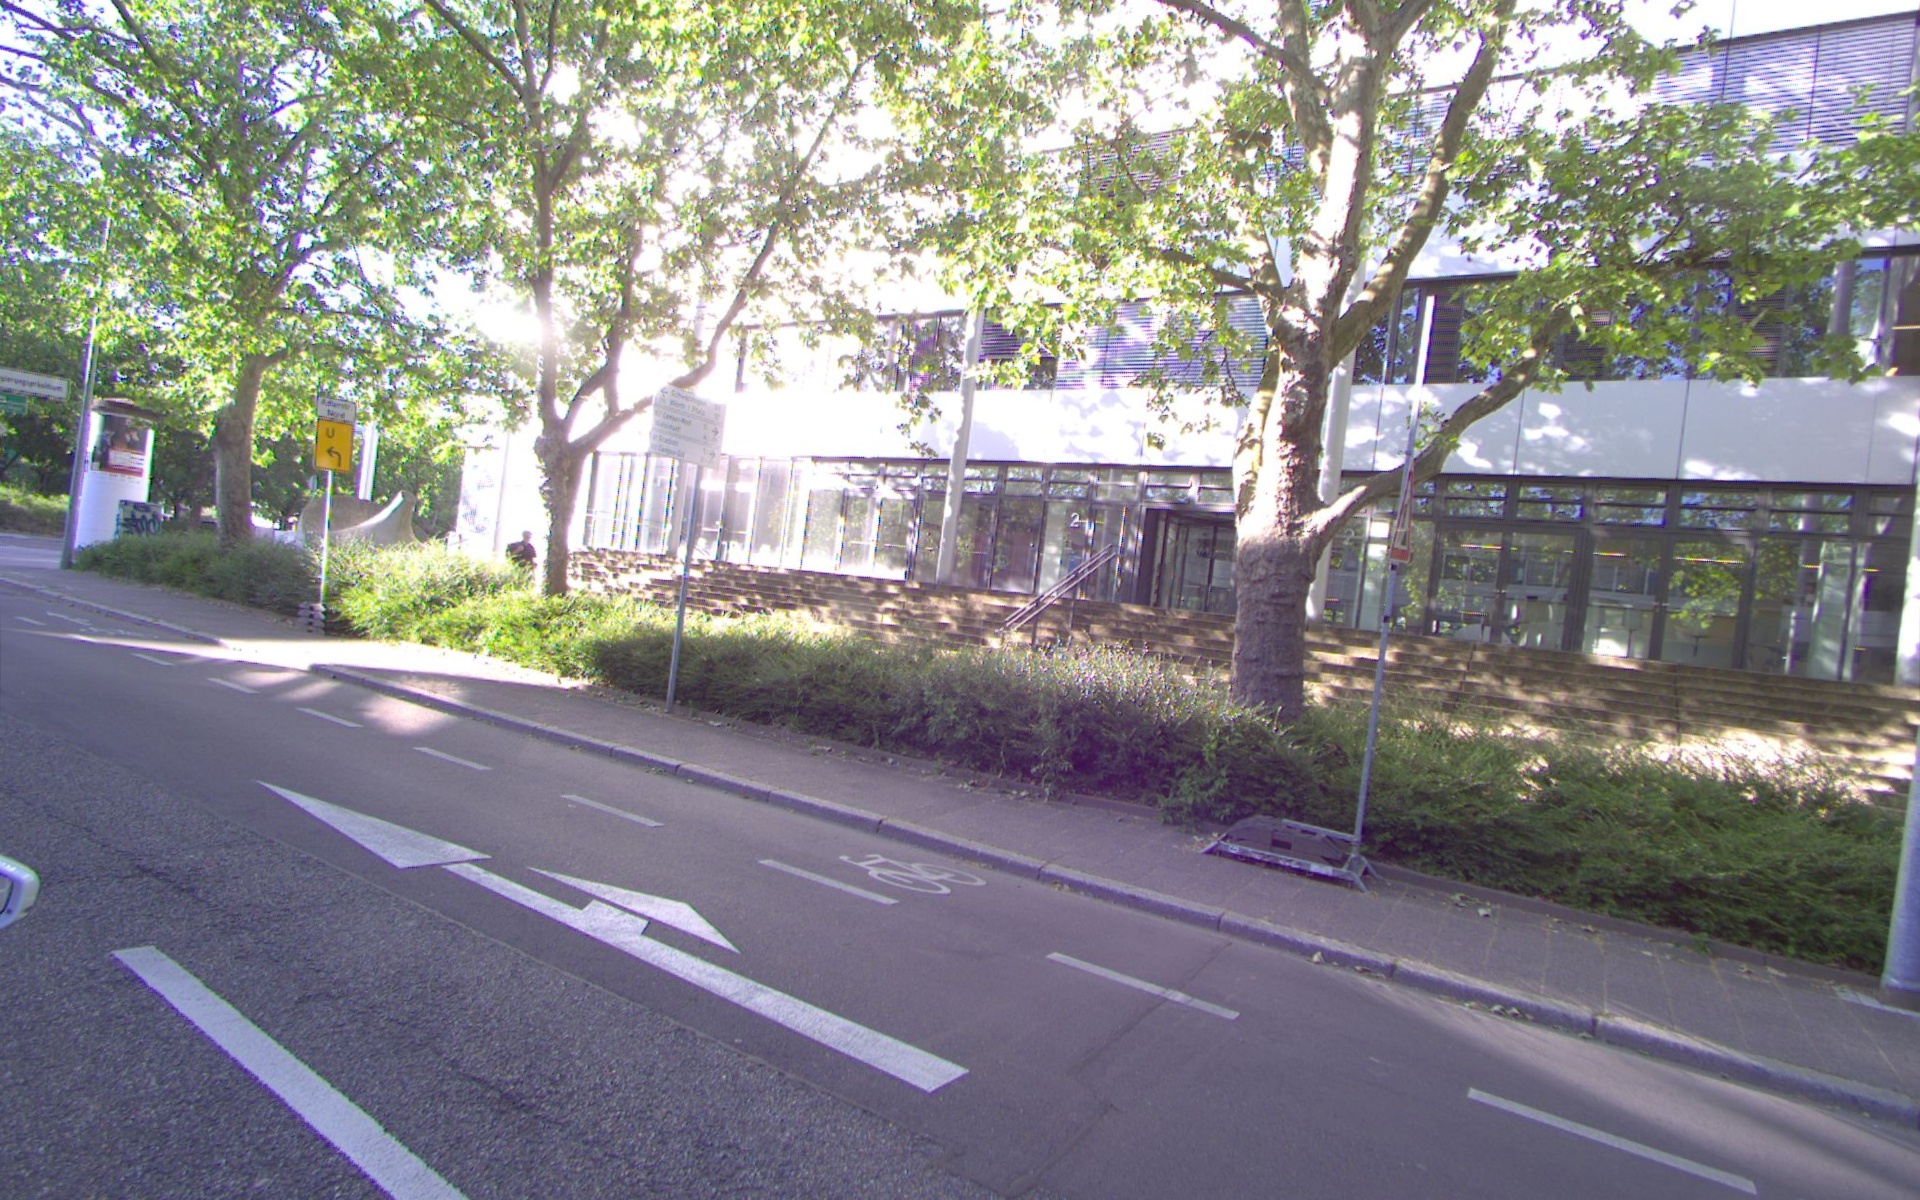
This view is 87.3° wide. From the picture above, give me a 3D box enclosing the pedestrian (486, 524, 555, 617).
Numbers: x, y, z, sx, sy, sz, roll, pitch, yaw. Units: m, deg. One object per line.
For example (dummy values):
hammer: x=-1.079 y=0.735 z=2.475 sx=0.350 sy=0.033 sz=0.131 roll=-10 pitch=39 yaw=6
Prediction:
pedestrian: x=-9.162 y=-0.611 z=20.976 sx=0.848 sy=1.802 sz=0.785 roll=7 pitch=0 yaw=30
